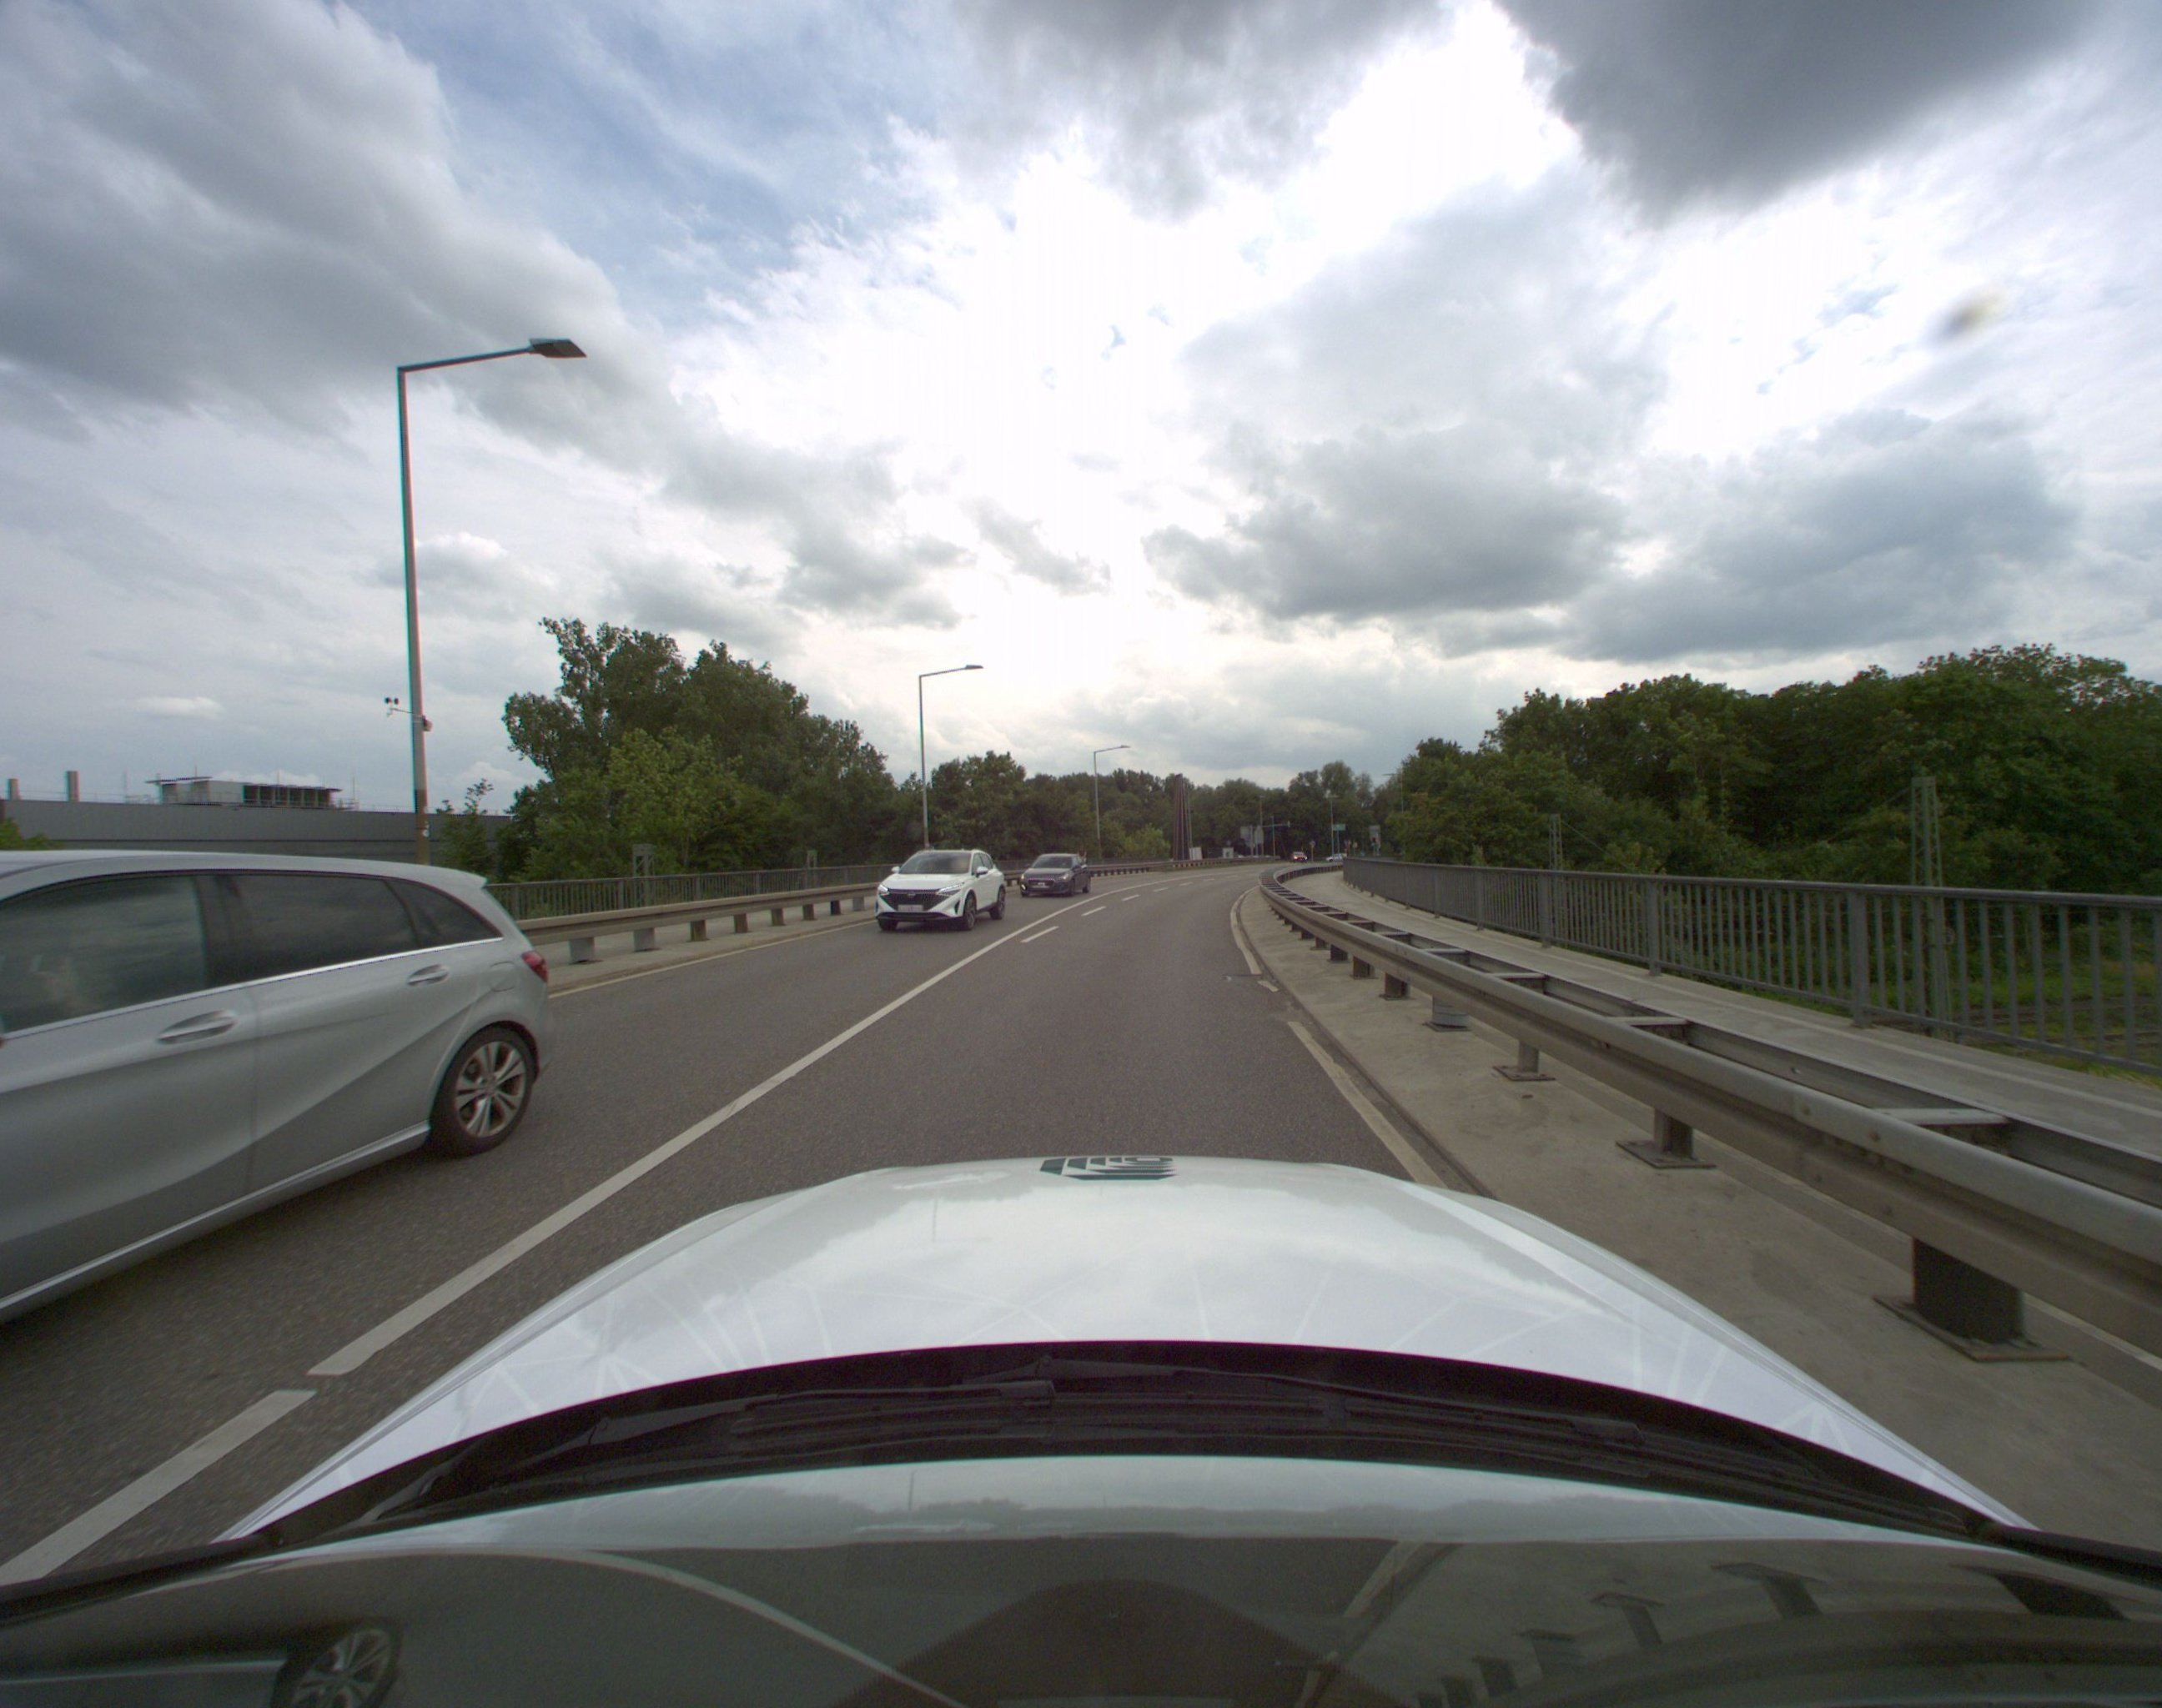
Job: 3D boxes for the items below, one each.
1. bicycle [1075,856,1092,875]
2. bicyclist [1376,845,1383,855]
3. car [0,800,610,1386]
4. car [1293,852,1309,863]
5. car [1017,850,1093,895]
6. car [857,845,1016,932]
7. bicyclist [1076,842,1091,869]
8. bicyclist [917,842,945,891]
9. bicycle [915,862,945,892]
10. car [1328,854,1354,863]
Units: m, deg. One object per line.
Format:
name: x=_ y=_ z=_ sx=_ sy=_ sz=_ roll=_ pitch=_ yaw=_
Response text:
bicycle: x=0.180 y=0.694 z=50.105 sx=0.630 sy=1.174 sz=1.913 roll=0 pitch=0 yaw=13
bicyclist: x=48.687 y=-0.653 z=132.835 sx=0.802 sy=1.735 sz=0.738 roll=0 pitch=-2 yaw=-27
car: x=-3.879 y=0.664 z=2.837 sx=1.811 sy=1.620 sz=4.399 roll=0 pitch=0 yaw=2
car: x=29.167 y=0.479 z=107.832 sx=1.782 sy=1.472 sz=4.657 roll=0 pitch=0 yaw=17
car: x=-0.826 y=0.606 z=28.851 sx=1.797 sy=1.477 sz=4.395 roll=0 pitch=0 yaw=10
car: x=-2.879 y=0.631 z=17.409 sx=1.929 sy=1.593 sz=4.785 roll=0 pitch=0 yaw=8
bicyclist: x=0.165 y=0.092 z=50.023 sx=0.765 sy=1.631 sz=0.652 roll=0 pitch=-1 yaw=15
bicyclist: x=-5.569 y=0.466 z=30.243 sx=0.844 sy=1.808 sz=0.798 roll=0 pitch=0 yaw=5
bicycle: x=-5.573 y=0.833 z=30.183 sx=0.642 sy=1.067 sz=1.764 roll=0 pitch=0 yaw=5
car: x=44.716 y=0.829 z=140.362 sx=3.967 sy=1.552 sz=2.003 roll=0 pitch=0 yaw=6
